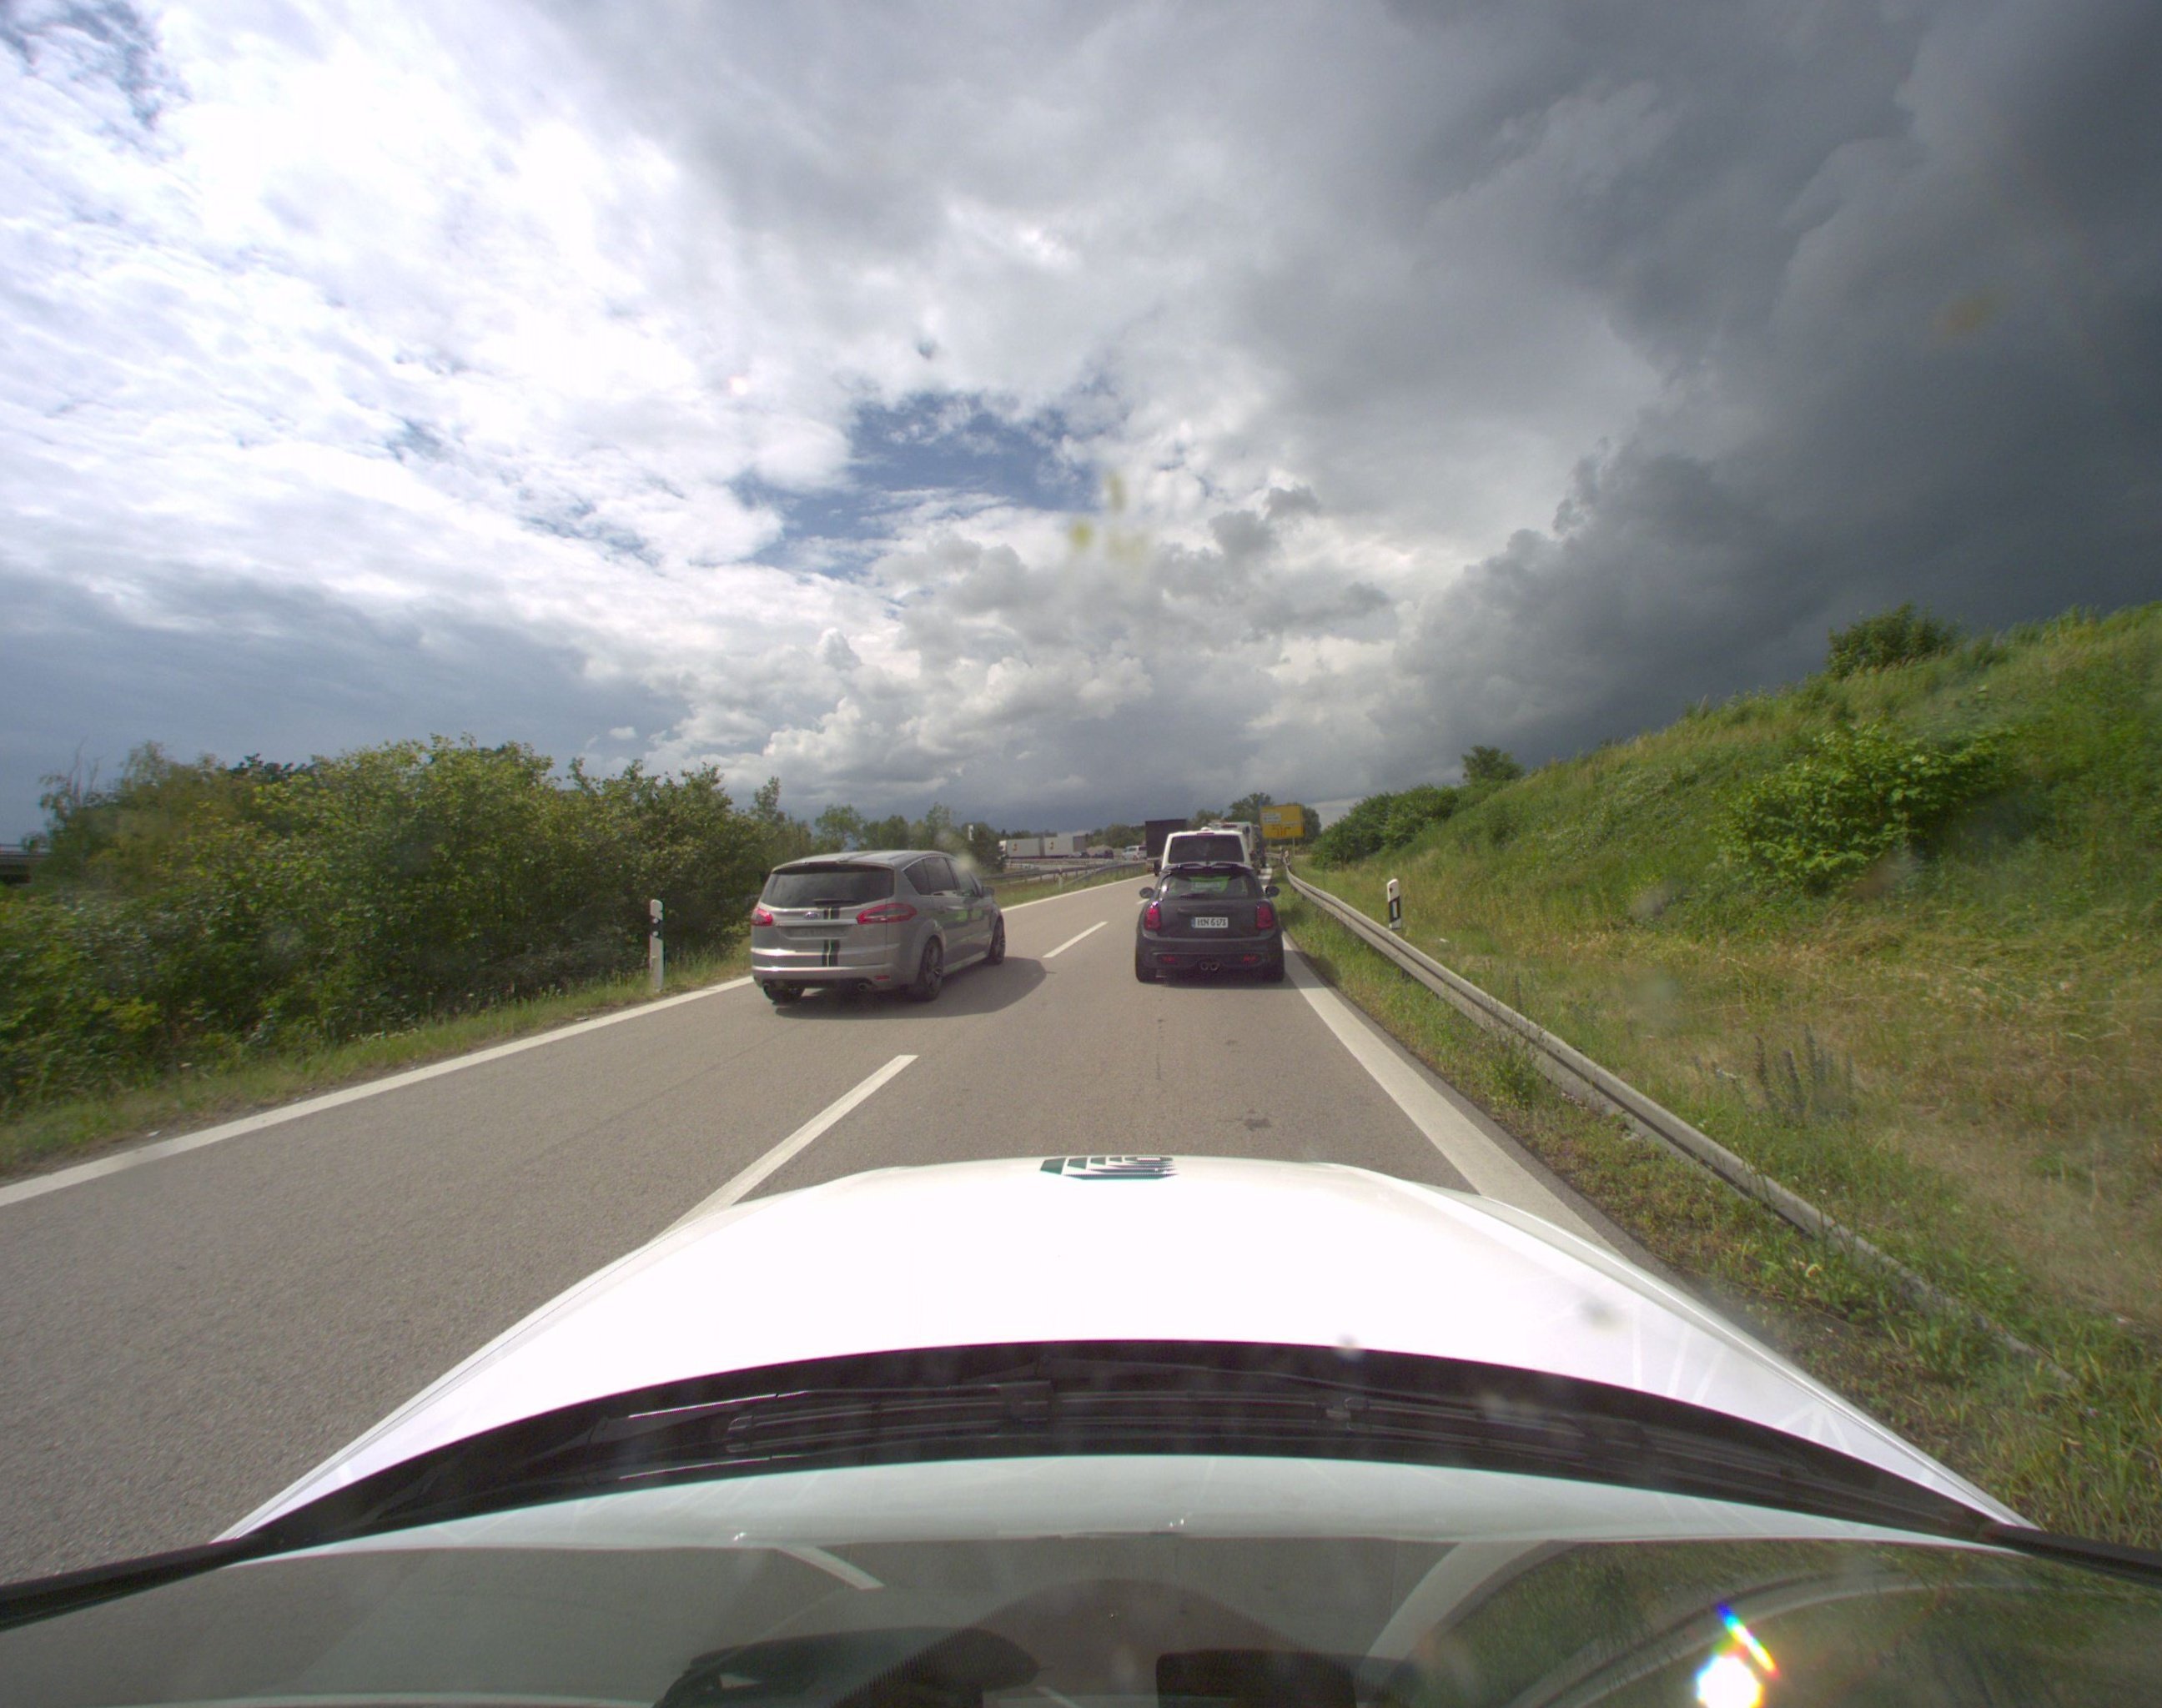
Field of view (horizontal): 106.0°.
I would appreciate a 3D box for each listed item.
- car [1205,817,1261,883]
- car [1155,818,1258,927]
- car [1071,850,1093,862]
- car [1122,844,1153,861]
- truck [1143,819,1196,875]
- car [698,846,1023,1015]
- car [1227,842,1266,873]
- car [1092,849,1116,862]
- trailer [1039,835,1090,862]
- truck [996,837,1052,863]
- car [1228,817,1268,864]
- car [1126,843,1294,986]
[{"bbox_3d":[6.619,-0.107,35.217,2.197,2.622,5.551,-1,-1,11],"label":"car"},{"bbox_3d":[2.753,0.375,17.446,1.899,2.045,4.193,-1,-1,11],"label":"car"},{"bbox_3d":[0.169,0.270,119.739,1.821,1.756,3.968,0,-1,-24],"label":"car"},{"bbox_3d":[7.833,-0.236,113.912,2.299,2.260,5.069,0,-1,-22],"label":"car"},{"bbox_3d":[5.504,-0.338,49.728,2.544,3.168,7.491,-1,-1,11],"label":"truck"},{"bbox_3d":[-2.324,0.774,10.105,2.008,1.577,4.601,-3,-1,11],"label":"car"},{"bbox_3d":[9.145,0.208,44.976,1.980,1.642,3.941,-1,-1,11],"label":"car"},{"bbox_3d":[3.469,0.184,121.631,1.930,1.838,4.282,0,-1,-24],"label":"car"},{"bbox_3d":[-2.682,-0.784,127.731,3.063,3.898,8.666,1,-1,-43],"label":"trailer"},{"bbox_3d":[-9.405,-0.622,134.028,9.900,3.976,2.863,-1,-1,39],"label":"truck"},{"bbox_3d":[11.571,-0.825,56.017,2.294,3.069,6.687,-1,-1,14],"label":"car"},{"bbox_3d":[1.666,0.666,10.771,1.789,1.546,3.747,-1,0,8],"label":"car"}]
